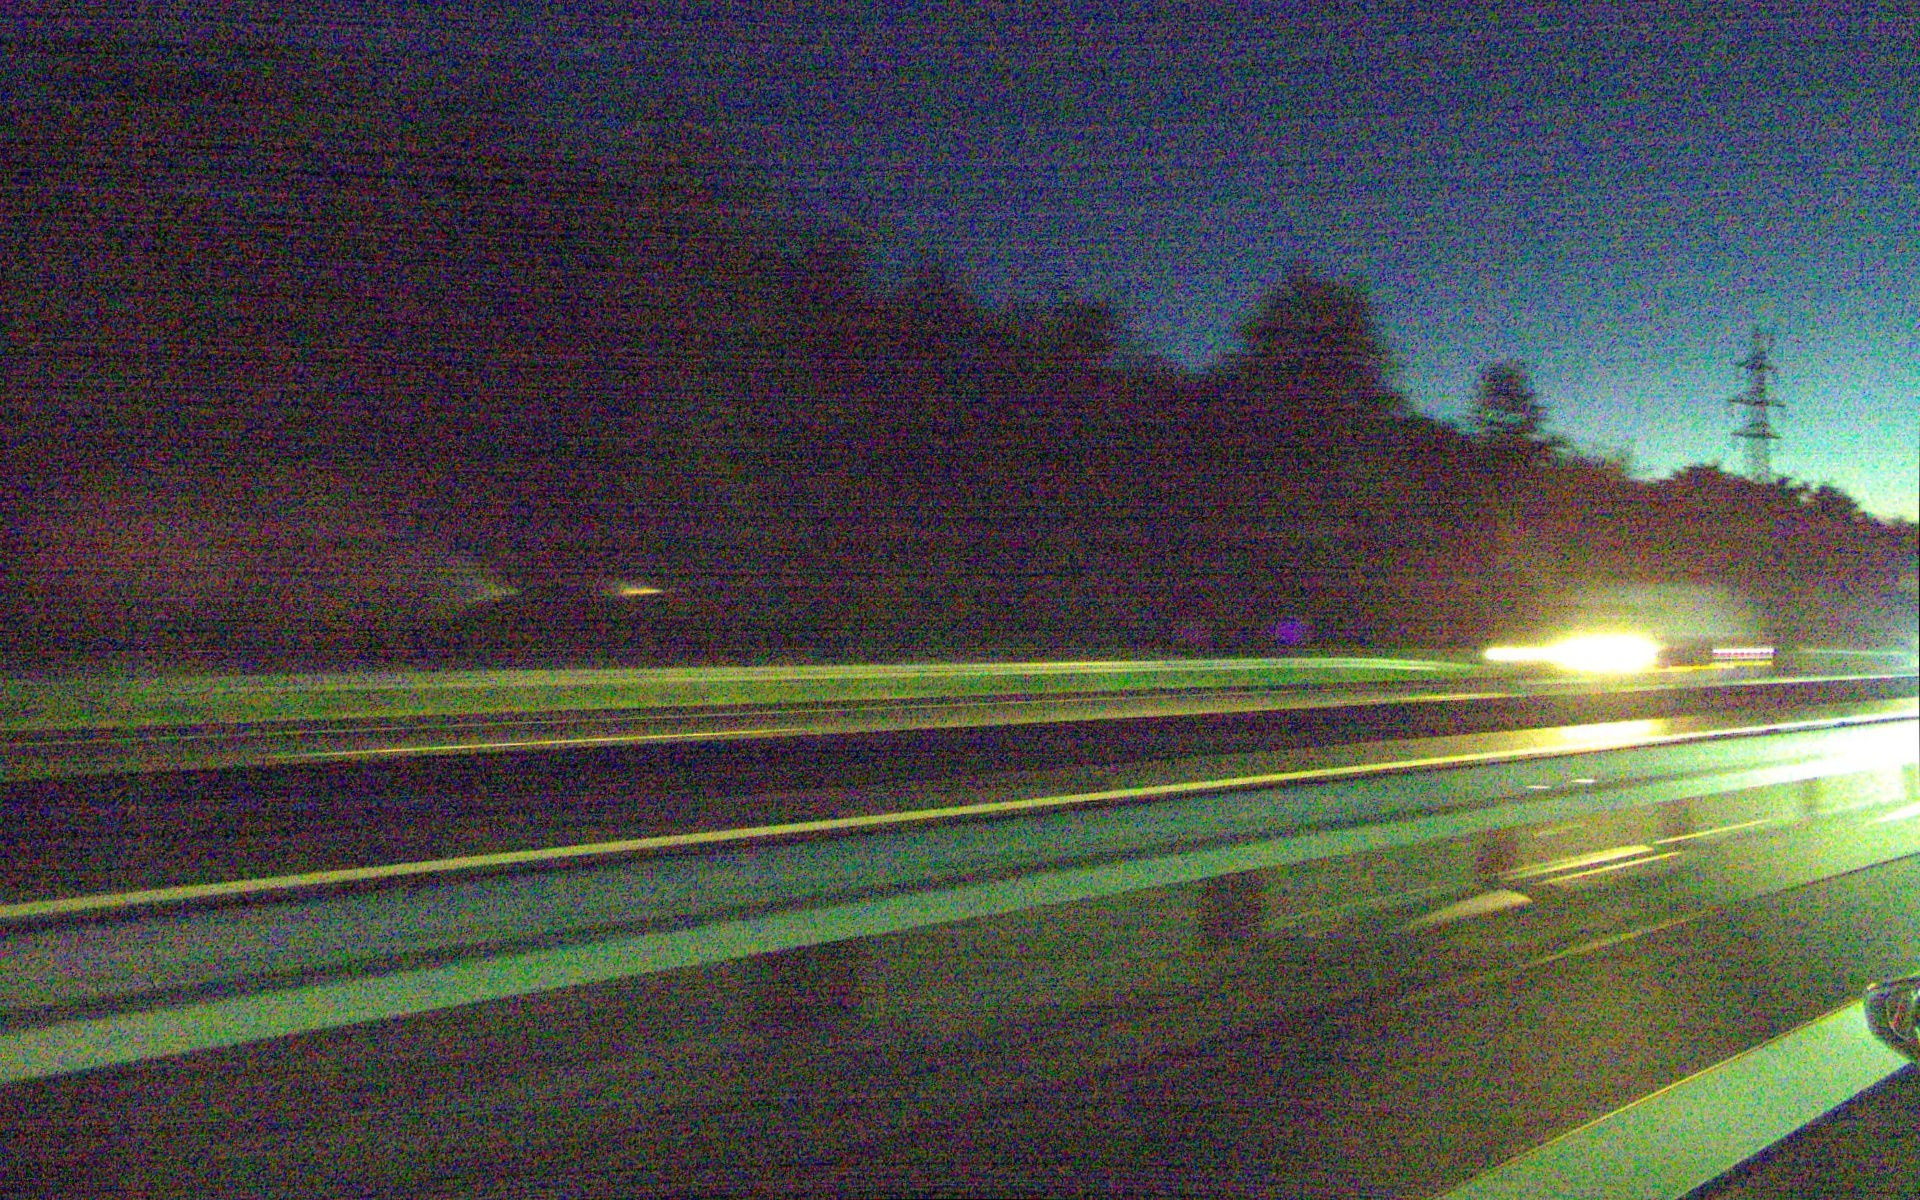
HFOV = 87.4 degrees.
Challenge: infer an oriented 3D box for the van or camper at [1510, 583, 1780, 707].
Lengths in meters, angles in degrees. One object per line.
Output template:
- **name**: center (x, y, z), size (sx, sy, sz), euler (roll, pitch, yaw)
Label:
- **van or camper**: center (16.849, 1.083, 24.528), size (7.687, 2.665, 2.319), euler (1, -4, -31)
